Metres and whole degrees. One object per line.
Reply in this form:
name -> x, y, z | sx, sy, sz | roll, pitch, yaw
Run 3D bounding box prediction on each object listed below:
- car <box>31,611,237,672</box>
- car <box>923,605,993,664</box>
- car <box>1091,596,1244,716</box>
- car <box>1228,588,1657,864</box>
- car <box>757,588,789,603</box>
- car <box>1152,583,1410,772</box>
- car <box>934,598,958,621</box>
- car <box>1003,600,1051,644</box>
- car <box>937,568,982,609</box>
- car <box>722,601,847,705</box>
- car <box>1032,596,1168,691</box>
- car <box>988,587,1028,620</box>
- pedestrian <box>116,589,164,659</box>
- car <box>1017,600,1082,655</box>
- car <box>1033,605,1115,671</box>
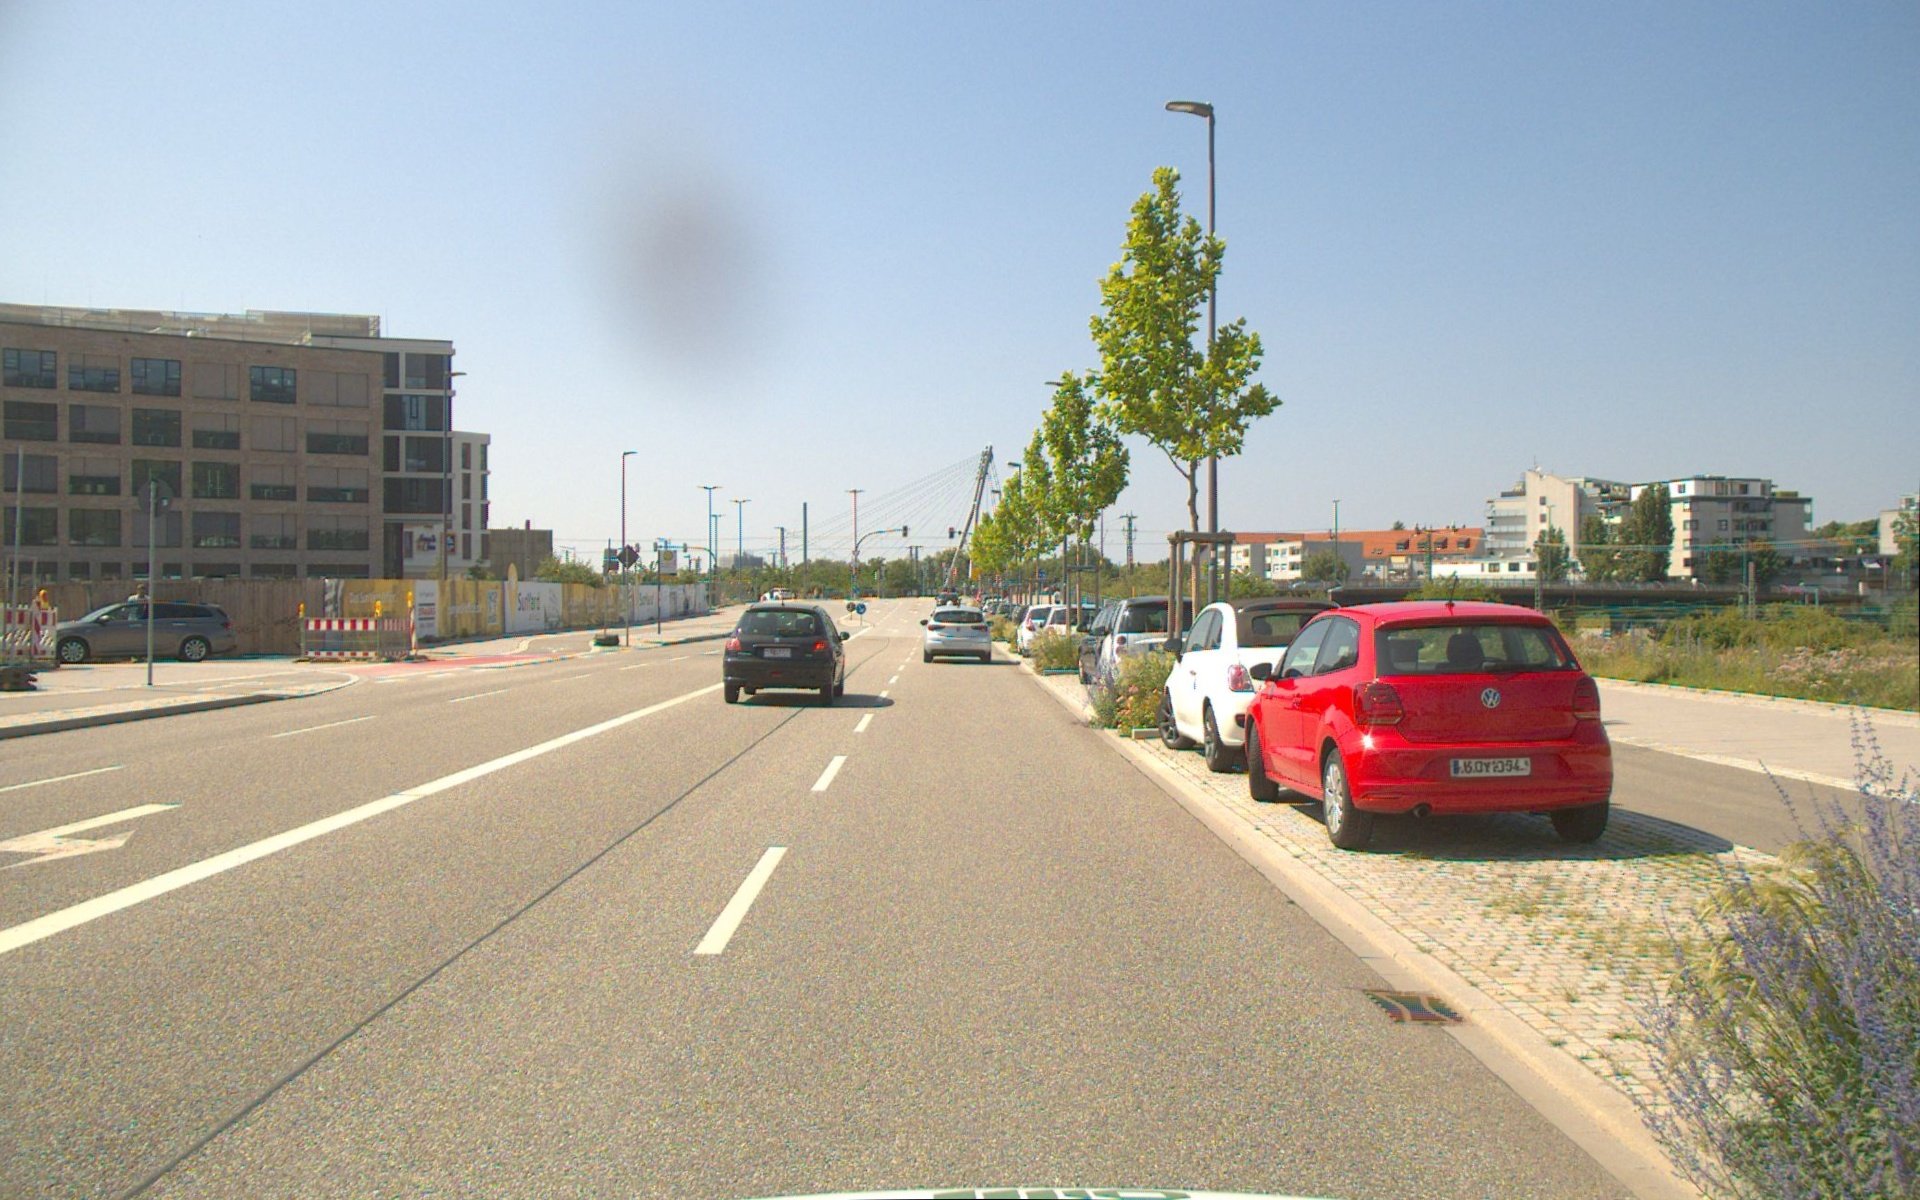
car -> -19.794, 0.950, 39.685 | 4.200, 1.341, 1.975 | -1, 0, -36
car -> -0.042, 0.877, 43.729 | 1.741, 1.467, 4.000 | 1, 0, 0
car -> 2.941, 0.754, 24.225 | 1.869, 1.605, 4.159 | 0, 0, 2
car -> 3.032, 0.697, 11.283 | 1.682, 1.476, 4.000 | 1, 1, -1
car -> -22.458, -0.574, 198.483 | 1.847, 1.678, 3.935 | 2, 0, -44
car -> 2.940, 0.717, 15.904 | 1.682, 1.551, 3.641 | -2, -2, -1
car -> -0.990, 0.715, 122.281 | 1.742, 1.596, 4.000 | 0, 1, 0
car -> 2.391, 0.762, 59.796 | 1.669, 1.488, 4.085 | -1, 0, 1
car -> -0.036, -0.479, 66.330 | 1.742, 1.596, 4.000 | 0, 1, 0
car -> -2.584, 0.742, 25.088 | 1.586, 1.441, 3.726 | -1, 0, -2
car -> 2.414, 0.765, 29.600 | 1.754, 1.503, 4.368 | -2, -1, -4
car -> 2.335, 0.206, 81.328 | 1.670, 1.488, 3.952 | -1, -1, -2
pedestrian -> -20.465, 0.596, 41.292 | 0.670, 1.713, 0.756 | 1, -2, 16
car -> 2.585, 0.768, 48.597 | 1.710, 1.535, 4.001 | -1, 0, 0
car -> 2.698, 0.887, 39.928 | 1.869, 1.505, 4.159 | 0, 0, 2
